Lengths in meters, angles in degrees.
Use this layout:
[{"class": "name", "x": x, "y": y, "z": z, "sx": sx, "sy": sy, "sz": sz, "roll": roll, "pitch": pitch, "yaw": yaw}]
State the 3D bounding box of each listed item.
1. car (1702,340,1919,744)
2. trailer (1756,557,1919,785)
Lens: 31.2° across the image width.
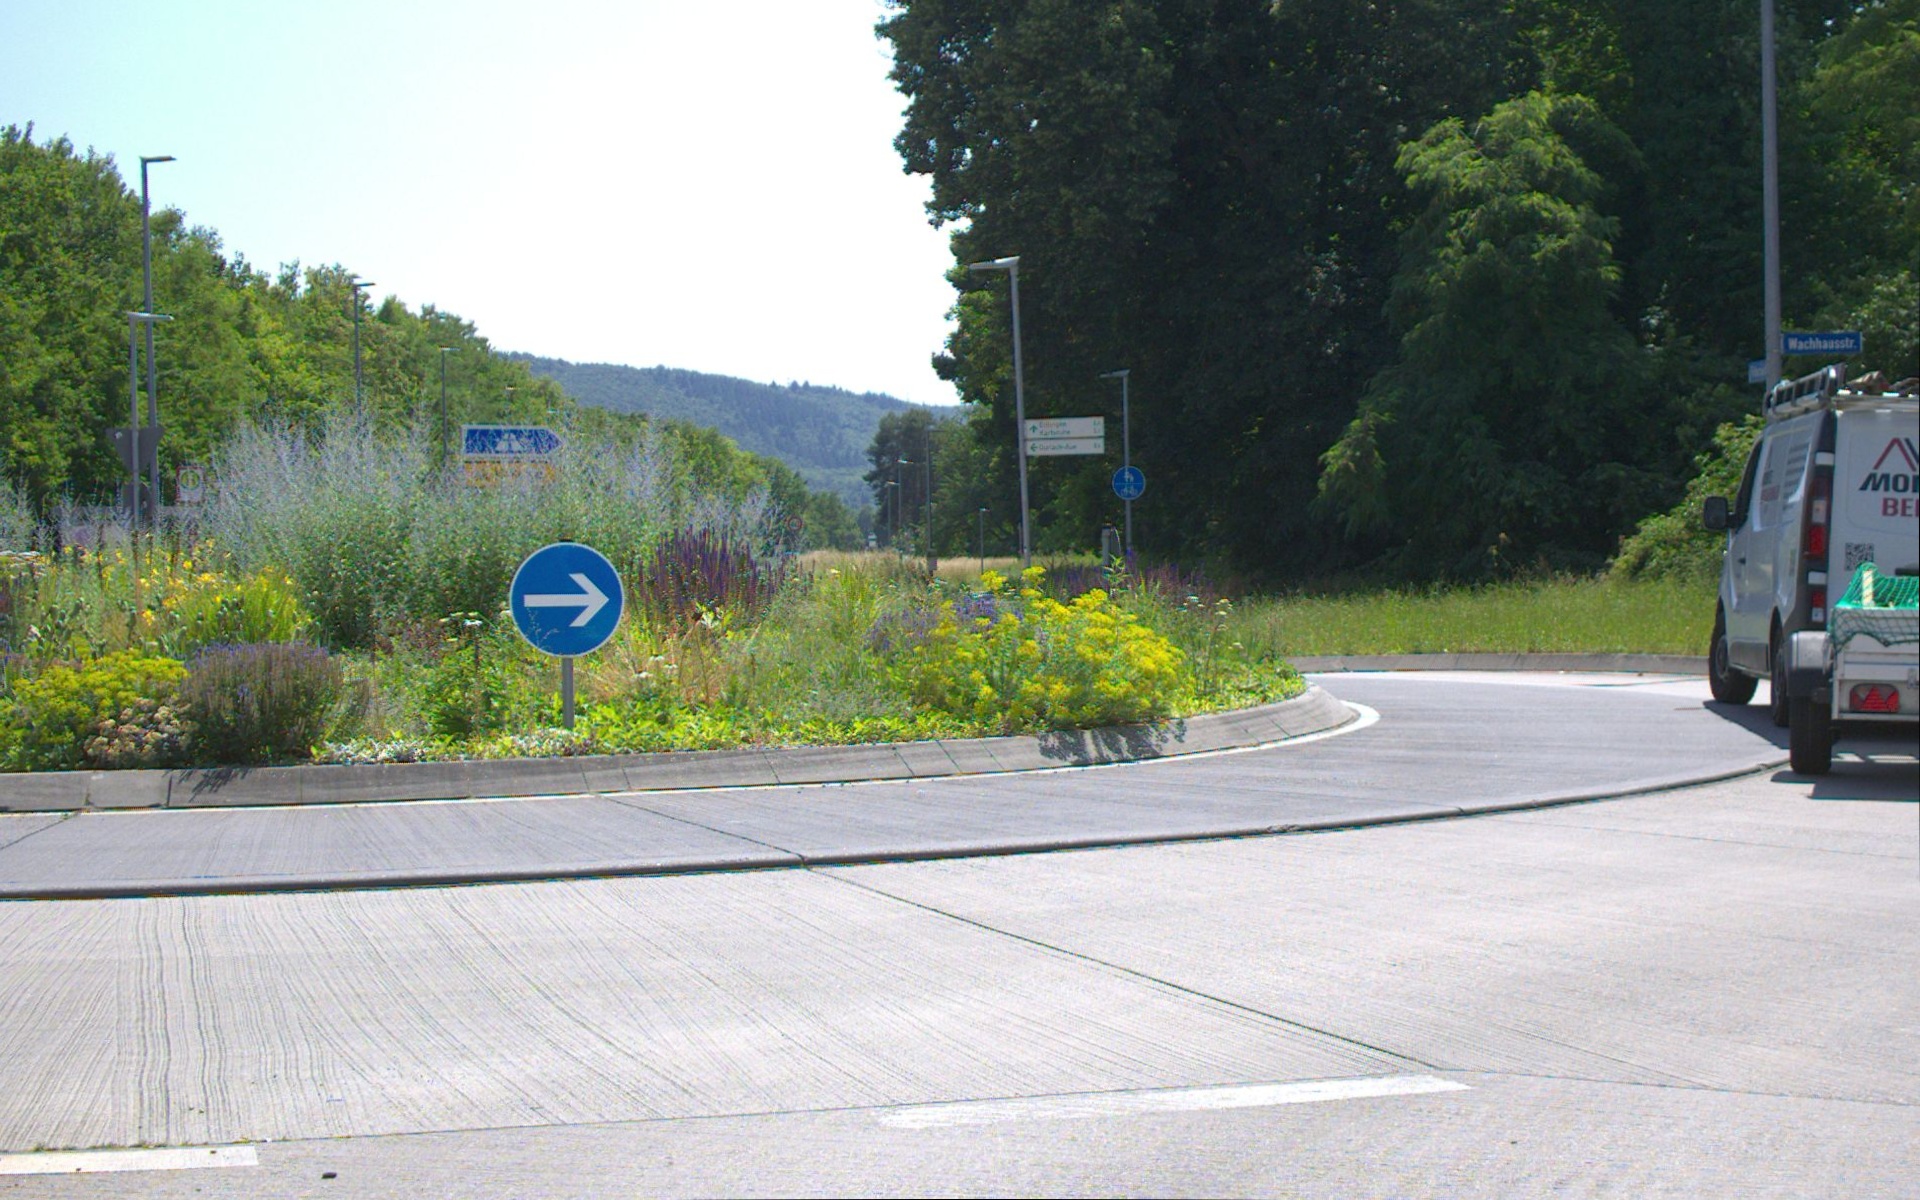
[{"class": "car", "x": 6.072, "y": -0.361, "z": 22.053, "sx": 2.167, "sy": 2.308, "sz": 4.980, "roll": 0, "pitch": 1, "yaw": 8}, {"class": "trailer", "x": 5.284, "y": 0.318, "z": 18.050, "sx": 2.122, "sy": 1.093, "sz": 3.353, "roll": 0, "pitch": 1, "yaw": 13}]
